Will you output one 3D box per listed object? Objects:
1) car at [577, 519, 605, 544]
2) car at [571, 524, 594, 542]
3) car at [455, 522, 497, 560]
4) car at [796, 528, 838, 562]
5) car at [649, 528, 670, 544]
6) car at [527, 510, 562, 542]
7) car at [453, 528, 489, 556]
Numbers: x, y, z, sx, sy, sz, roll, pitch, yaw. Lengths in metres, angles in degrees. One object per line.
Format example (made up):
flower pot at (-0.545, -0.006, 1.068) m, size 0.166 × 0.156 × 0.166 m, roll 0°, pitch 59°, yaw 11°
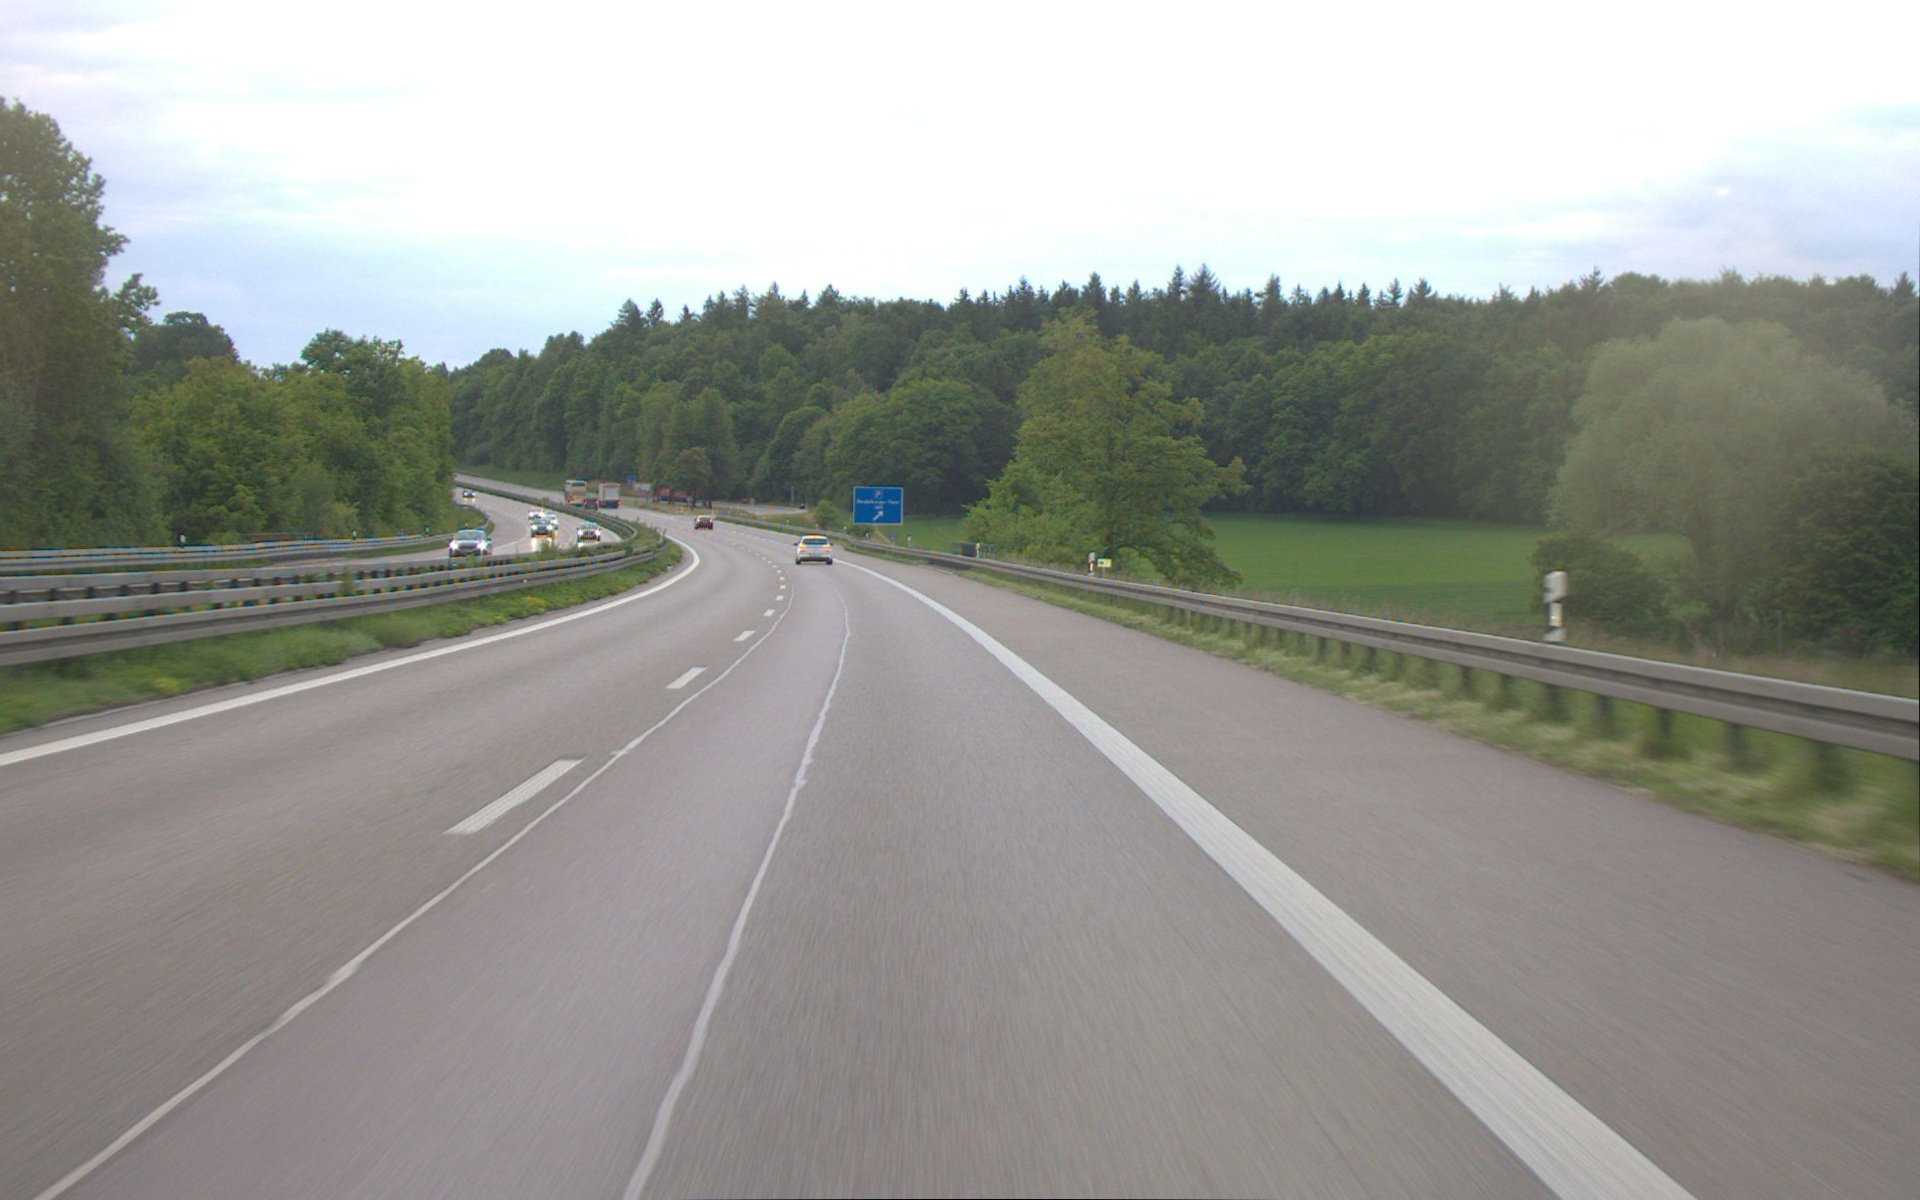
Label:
car at (-14.290, -2.655, 133.288) m, size 0.888 × 0.875 × 1.764 m, roll 3°, pitch 2°, yaw -1°
car at (-13.607, -2.419, 123.956) m, size 0.678 × 0.627 × 1.597 m, roll 3°, pitch 2°, yaw -1°
car at (-12.756, -1.551, 90.609) m, size 0.841 × 0.936 × 1.764 m, roll 3°, pitch 2°, yaw -1°
car at (-7.217, -2.789, 173.641) m, size 1.951 × 1.526 × 4.081 m, roll 3°, pitch 2°, yaw -1°
car at (-16.060, -3.415, 183.777) m, size 0.971 × 0.789 × 1.980 m, roll 3°, pitch 2°, yaw -1°
car at (-13.707, -2.447, 113.501) m, size 0.887 × 0.965 × 1.764 m, roll 3°, pitch 2°, yaw 1°
car at (-24.046, -2.855, 169.044) m, size 1.383 × 1.269 × 2.749 m, roll 3°, pitch 2°, yaw -1°
